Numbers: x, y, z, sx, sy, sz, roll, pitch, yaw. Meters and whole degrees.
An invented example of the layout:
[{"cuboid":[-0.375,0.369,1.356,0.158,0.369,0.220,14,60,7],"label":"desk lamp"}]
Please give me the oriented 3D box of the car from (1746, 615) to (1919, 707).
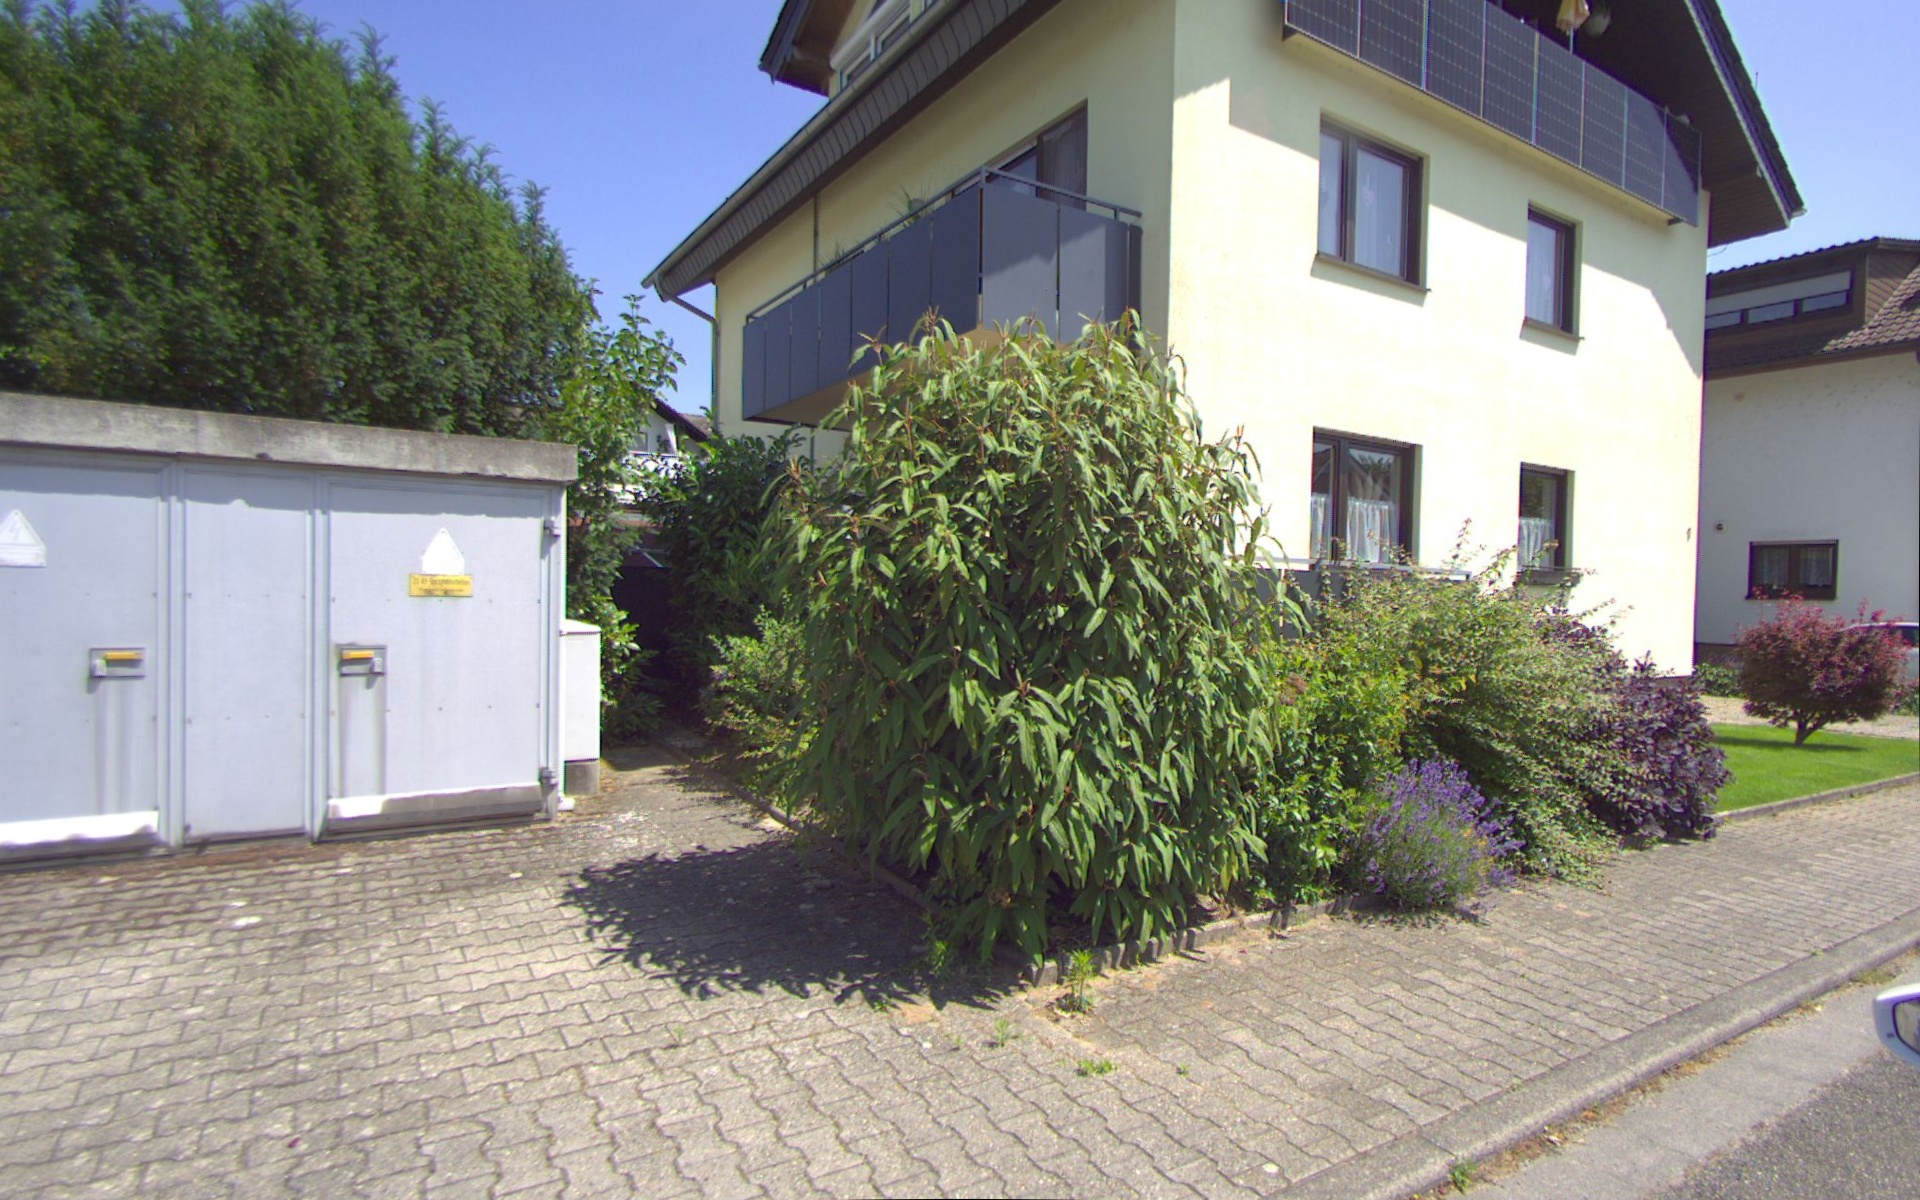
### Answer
[{"cuboid":[16.426,1.054,17.493,1.828,1.439,3.958,1,1,-37],"label":"car"}]
